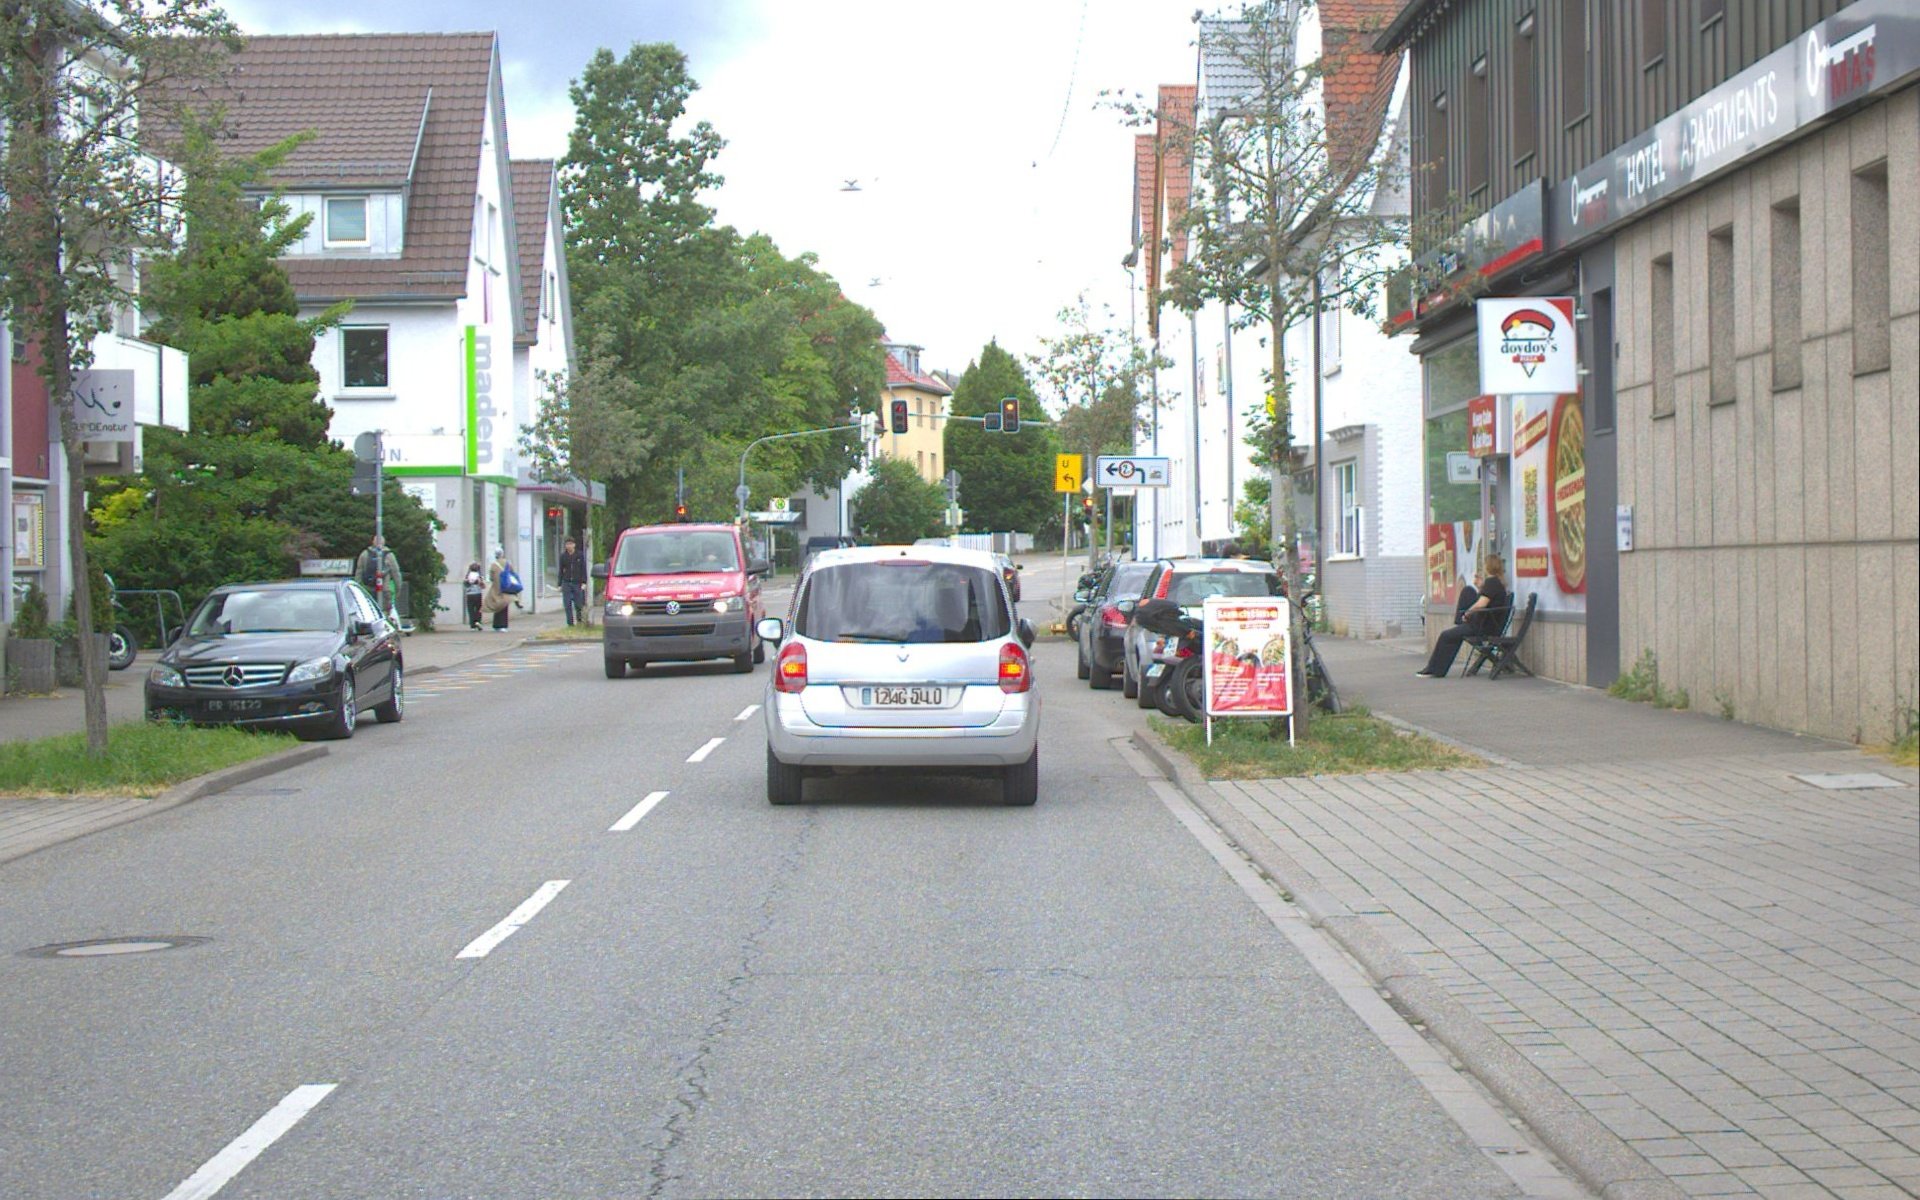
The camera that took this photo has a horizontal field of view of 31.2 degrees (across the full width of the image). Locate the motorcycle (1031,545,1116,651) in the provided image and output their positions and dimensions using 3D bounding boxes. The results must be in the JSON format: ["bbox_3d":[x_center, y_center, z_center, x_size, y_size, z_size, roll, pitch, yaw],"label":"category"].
[{"bbox_3d":[1.784,-0.045,54.490,0.697,1.633,2.410,1,0,-14],"label":"motorcycle"}]

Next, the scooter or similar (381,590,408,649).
[{"bbox_3d":[-9.975,0.337,60.619,0.373,1.031,0.559,-1,1,-1],"label":"scooter or similar"}]

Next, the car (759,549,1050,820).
[{"bbox_3d":[-0.319,0.478,22.174,1.682,1.560,3.993,1,0,0],"label":"car"}]

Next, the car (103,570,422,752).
[{"bbox_3d":[-6.293,0.503,31.540,1.948,1.462,4.516,-2,0,0],"label":"car"}]

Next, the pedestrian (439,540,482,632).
[{"bbox_3d":[-9.619,-0.277,66.278,0.716,1.750,0.696,1,0,-1],"label":"pedestrian"}]

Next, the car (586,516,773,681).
[{"bbox_3d":[-3.615,-0.041,45.227,1.948,1.955,5.223,-2,0,0],"label":"car"}]

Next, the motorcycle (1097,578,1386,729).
[{"bbox_3d":[2.586,0.475,31.422,2.707,1.331,0.700,0,0,-30],"label":"motorcycle"}]

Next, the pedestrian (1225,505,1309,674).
[{"bbox_3d":[3.524,-0.123,39.538,0.857,1.921,0.899,1,0,0],"label":"pedestrian"}]

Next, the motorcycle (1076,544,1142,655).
[{"bbox_3d":[2.256,-0.018,51.739,0.698,1.633,2.408,1,0,9],"label":"motorcycle"}]

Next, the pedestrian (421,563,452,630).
[{"bbox_3d":[-9.915,-0.069,65.168,0.492,1.273,0.588,1,0,0],"label":"pedestrian"}]

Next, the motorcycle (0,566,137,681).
[{"bbox_3d":[-11.596,0.285,42.489,2.706,1.404,0.700,1,0,-9],"label":"motorcycle"}]

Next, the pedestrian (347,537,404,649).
[{"bbox_3d":[-9.432,-0.110,55.487,0.762,1.785,0.890,1,0,-1],"label":"pedestrian"}]

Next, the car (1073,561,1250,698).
[{"bbox_3d":[2.254,0.304,39.381,1.700,1.462,4.239,1,0,-1],"label":"car"}]

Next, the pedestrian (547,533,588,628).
[{"bbox_3d":[-7.783,-0.392,68.163,0.716,1.869,0.696,1,0,-1],"label":"pedestrian"}]

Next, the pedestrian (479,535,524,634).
[{"bbox_3d":[-8.778,-0.298,65.807,0.762,1.869,0.696,1,0,-1],"label":"pedestrian"}]

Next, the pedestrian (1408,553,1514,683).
[{"bbox_3d":[5.283,0.188,36.316,0.887,1.296,0.966,-4,0,0],"label":"pedestrian"}]

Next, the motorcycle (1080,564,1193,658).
[{"bbox_3d":[2.594,0.150,50.150,0.699,1.331,2.713,1,0,24],"label":"motorcycle"}]

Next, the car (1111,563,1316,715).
[{"bbox_3d":[2.492,0.354,34.570,1.700,1.425,3.891,1,0,-1],"label":"car"}]

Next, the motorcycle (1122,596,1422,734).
[{"bbox_3d":[2.770,0.562,30.377,2.728,1.179,0.700,0,0,-30],"label":"motorcycle"}]

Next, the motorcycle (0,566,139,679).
[{"bbox_3d":[-11.756,0.276,43.271,2.706,1.404,0.700,1,0,-9],"label":"motorcycle"}]
